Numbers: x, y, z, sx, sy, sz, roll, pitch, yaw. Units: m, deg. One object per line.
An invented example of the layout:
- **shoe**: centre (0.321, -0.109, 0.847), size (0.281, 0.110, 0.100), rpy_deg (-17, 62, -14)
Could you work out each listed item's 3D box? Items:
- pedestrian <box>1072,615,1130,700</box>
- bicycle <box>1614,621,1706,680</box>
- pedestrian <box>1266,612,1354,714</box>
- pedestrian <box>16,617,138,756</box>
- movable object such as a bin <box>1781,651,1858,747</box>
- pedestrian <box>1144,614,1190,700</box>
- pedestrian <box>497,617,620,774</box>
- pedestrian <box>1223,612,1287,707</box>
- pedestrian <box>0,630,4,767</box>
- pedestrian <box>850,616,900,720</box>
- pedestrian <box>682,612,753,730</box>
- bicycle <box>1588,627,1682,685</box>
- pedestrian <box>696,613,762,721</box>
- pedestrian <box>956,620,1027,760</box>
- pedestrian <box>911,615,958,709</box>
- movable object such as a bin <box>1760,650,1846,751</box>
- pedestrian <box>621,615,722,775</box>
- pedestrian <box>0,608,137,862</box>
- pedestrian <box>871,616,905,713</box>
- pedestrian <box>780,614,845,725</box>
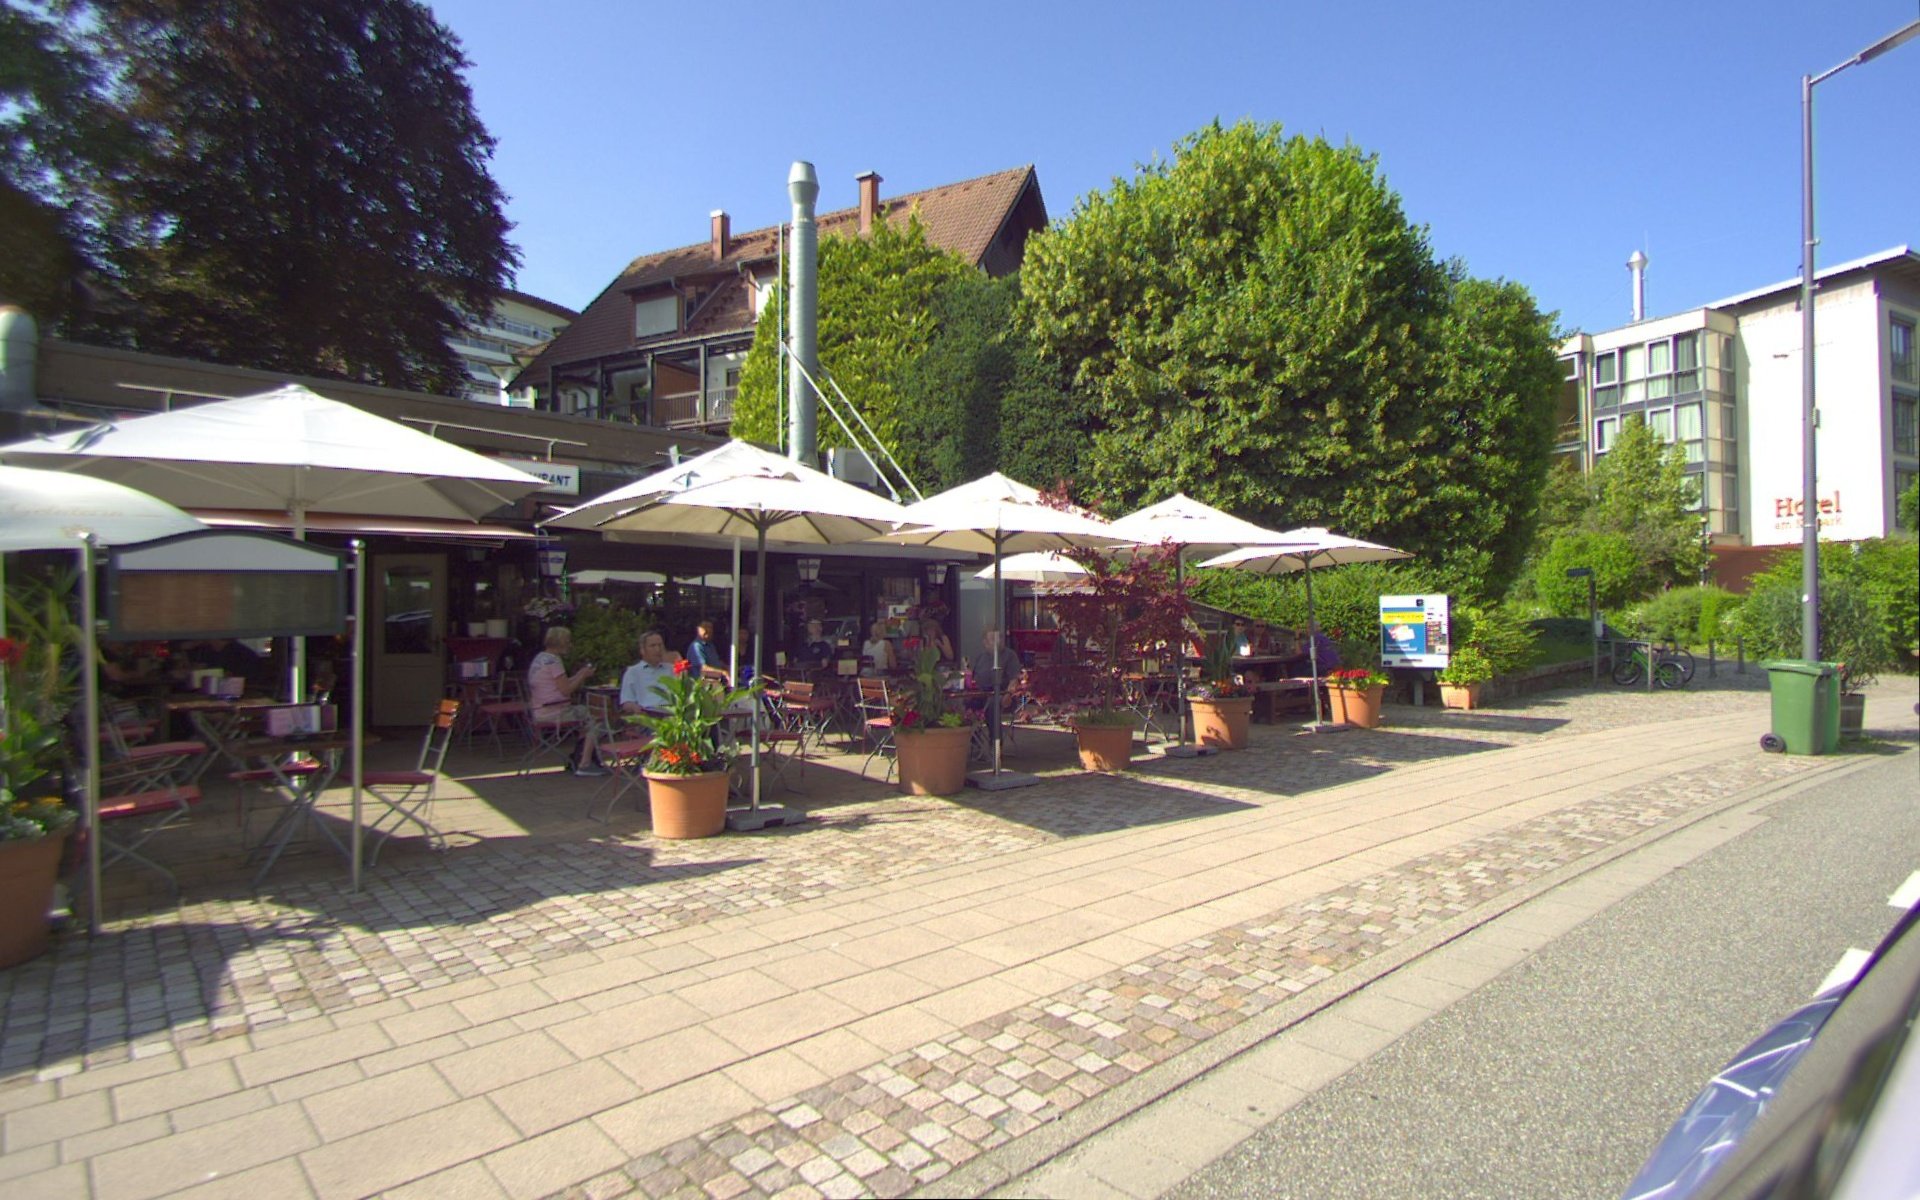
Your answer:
- **pedestrian**: centre (2.157, 0.865, 15.481), size (0.685, 1.247, 0.509), rpy_deg (1, 0, -27)
- **bicycle**: centre (13.218, 0.941, 19.155), size (0.376, 0.995, 1.551), rpy_deg (1, 1, -13)
- **pedestrian**: centre (4.756, 0.833, 13.758), size (0.947, 1.300, 0.635), rpy_deg (1, 0, 42)
- **pedestrian**: centre (-8.783, 0.836, 10.091), size (0.624, 1.315, 0.688), rpy_deg (0, 0, -7)
- **movable object such as a bin**: centre (8.887, 1.008, 10.471), size (0.433, 0.924, 0.515), rpy_deg (1, 0, -36)
- **pedestrian**: centre (3.113, 0.842, 15.257), size (0.584, 1.253, 0.508), rpy_deg (1, 0, 3)
- **pedestrian**: centre (-3.480, 0.798, 8.828), size (0.689, 1.277, 0.810), rpy_deg (0, 0, 8)
- **pedestrian**: centre (4.207, 0.829, 14.429), size (0.647, 1.300, 0.635), rpy_deg (1, 0, 42)
- **pedestrian**: centre (-8.855, 0.882, 8.690), size (0.686, 1.224, 0.689), rpy_deg (0, 0, -15)
- **pedestrian**: centre (-1.092, 0.857, 12.991), size (0.468, 1.281, 0.434), rpy_deg (1, 0, 40)
- **pedestrian**: centre (-2.832, 0.816, 11.848), size (0.627, 1.321, 0.579), rpy_deg (1, 0, 7)
- **bicycle**: centre (12.277, 1.002, 18.451), size (0.376, 0.920, 1.551), rpy_deg (2, 1, -13)
- **pedestrian**: centre (-2.893, 0.820, 12.692), size (0.627, 1.298, 0.579), rpy_deg (1, 0, 7)
- **pedestrian**: centre (0.307, 0.834, 9.670), size (0.469, 1.261, 0.588), rpy_deg (1, 1, 27)
- **pedestrian**: centre (-0.363, 0.861, 14.338), size (0.499, 1.283, 0.409), rpy_deg (1, 0, -36)
- **movable object such as a bin**: centre (8.465, 0.992, 10.163), size (0.510, 0.937, 0.549), rpy_deg (1, 0, -36)
- **pedestrian**: centre (-2.502, 0.778, 8.737), size (0.686, 1.277, 0.813), rpy_deg (0, 0, -28)
- **pedestrian**: centre (-5.589, 0.752, 6.032), size (0.690, 1.399, 0.809), rpy_deg (0, 0, 13)
- **pedestrian**: centre (-0.965, 0.850, 13.478), size (0.383, 1.247, 0.471), rpy_deg (1, 0, -11)
- **pedestrian**: centre (-1.843, 0.843, 12.642), size (0.529, 1.321, 0.600), rpy_deg (1, 0, 41)
